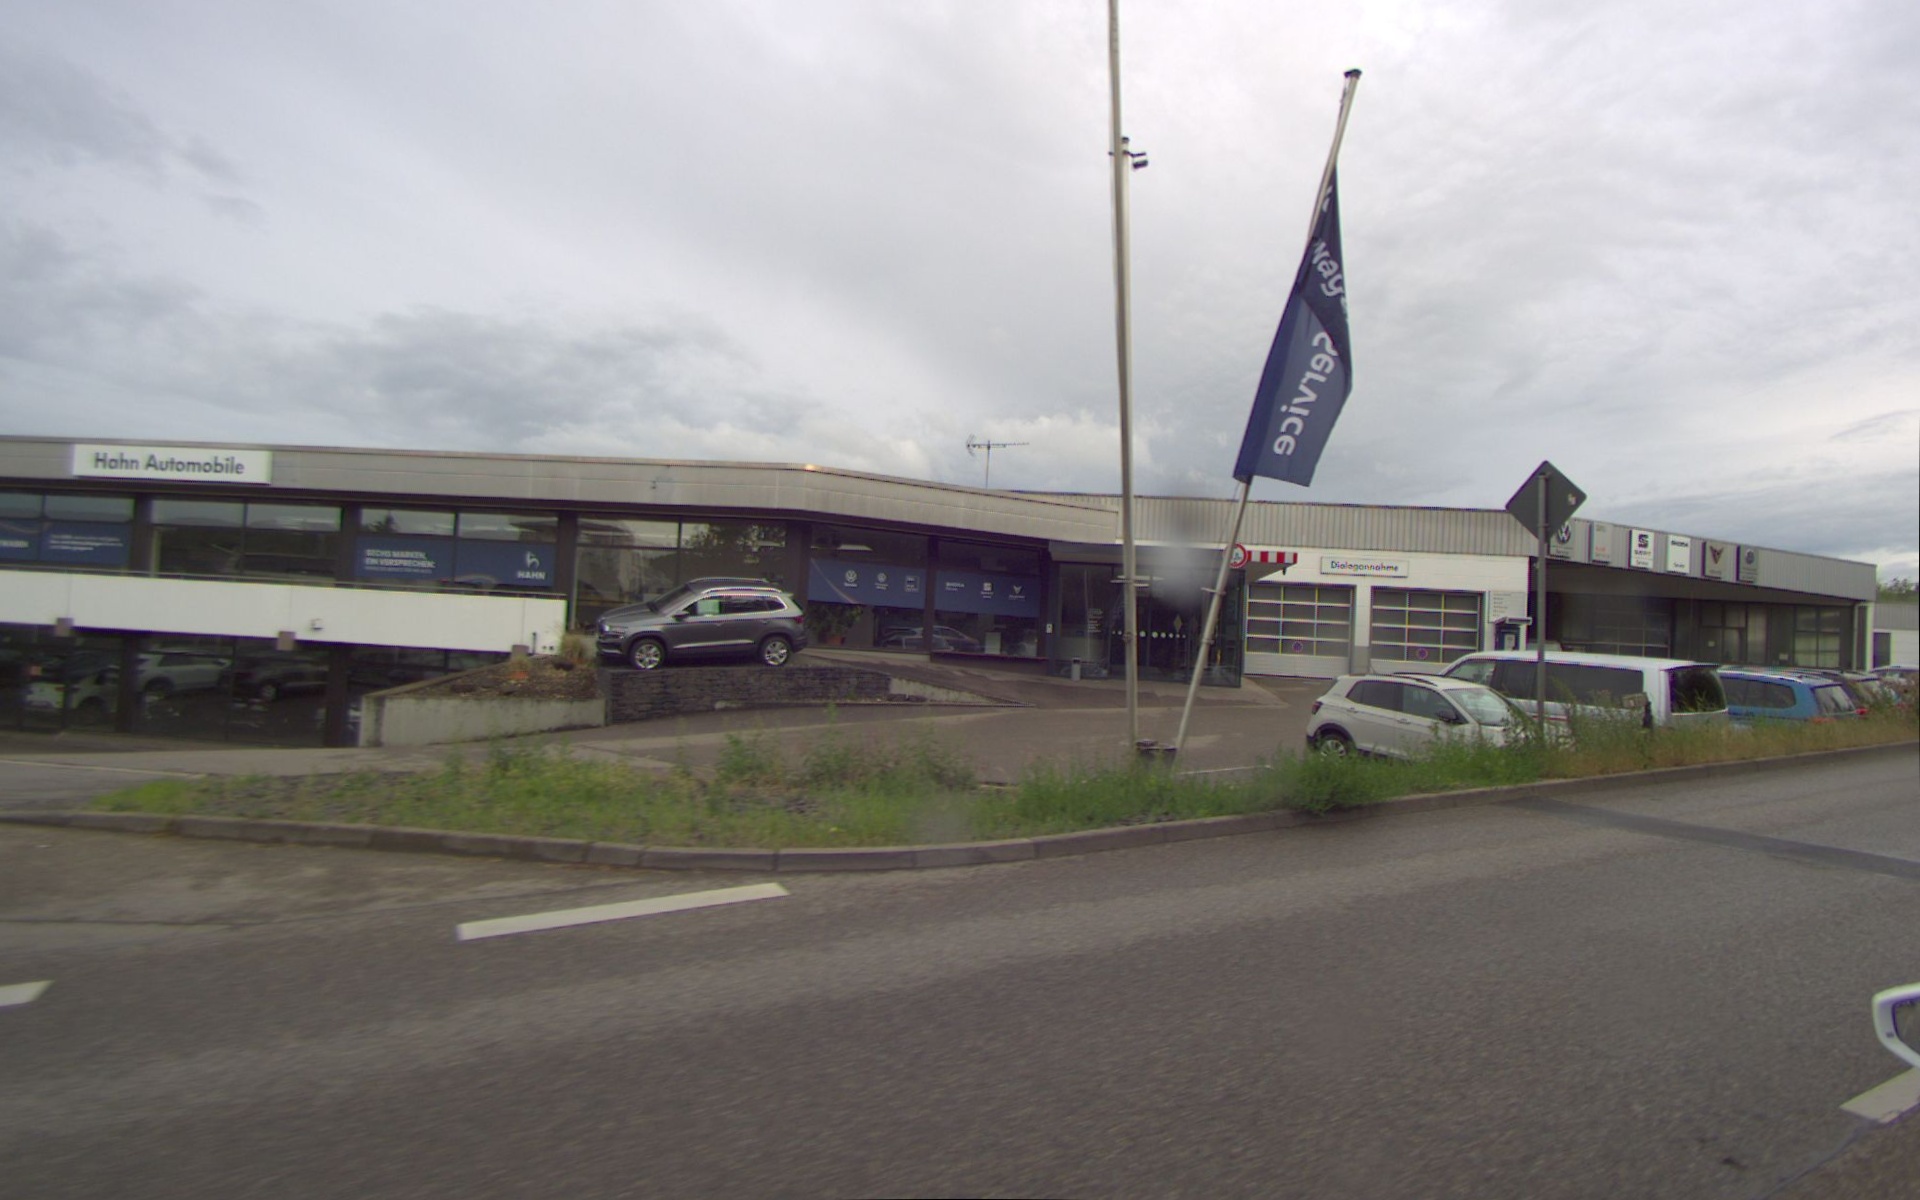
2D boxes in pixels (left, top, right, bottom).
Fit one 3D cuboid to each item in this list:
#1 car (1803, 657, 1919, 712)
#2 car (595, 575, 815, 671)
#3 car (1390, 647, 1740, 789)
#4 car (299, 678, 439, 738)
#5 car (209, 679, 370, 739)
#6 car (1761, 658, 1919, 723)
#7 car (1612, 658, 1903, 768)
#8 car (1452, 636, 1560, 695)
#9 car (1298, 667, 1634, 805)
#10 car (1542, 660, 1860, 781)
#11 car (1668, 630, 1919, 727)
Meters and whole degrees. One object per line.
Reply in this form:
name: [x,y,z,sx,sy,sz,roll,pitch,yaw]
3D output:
car: [24.614,2.188,25.942,1.785,1.308,4.041,1,-2,-32]
car: [-5.241,0.521,20.813,4.197,1.823,1.394,2,-2,-27]
car: [9.304,1.691,15.858,1.911,1.821,4.392,1,-2,-30]
car: [-17.463,3.153,29.943,1.853,1.446,4.105,1,-2,-2]
car: [-19.814,3.185,29.918,1.851,1.446,4.108,1,-2,4]
car: [22.389,2.172,24.432,1.854,1.386,4.203,1,-2,-32]
car: [15.739,2.128,20.062,1.854,1.821,4.203,1,-2,-32]
car: [20.116,2.443,37.276,1.948,1.985,4.490,1,-4,6]
car: [7.019,1.795,14.364,1.802,1.497,3.990,1,-2,-30]
car: [13.609,2.103,18.742,1.980,1.821,4.389,1,-2,-32]
car: [17.884,1.567,21.419,1.854,1.821,4.203,1,-2,-32]
